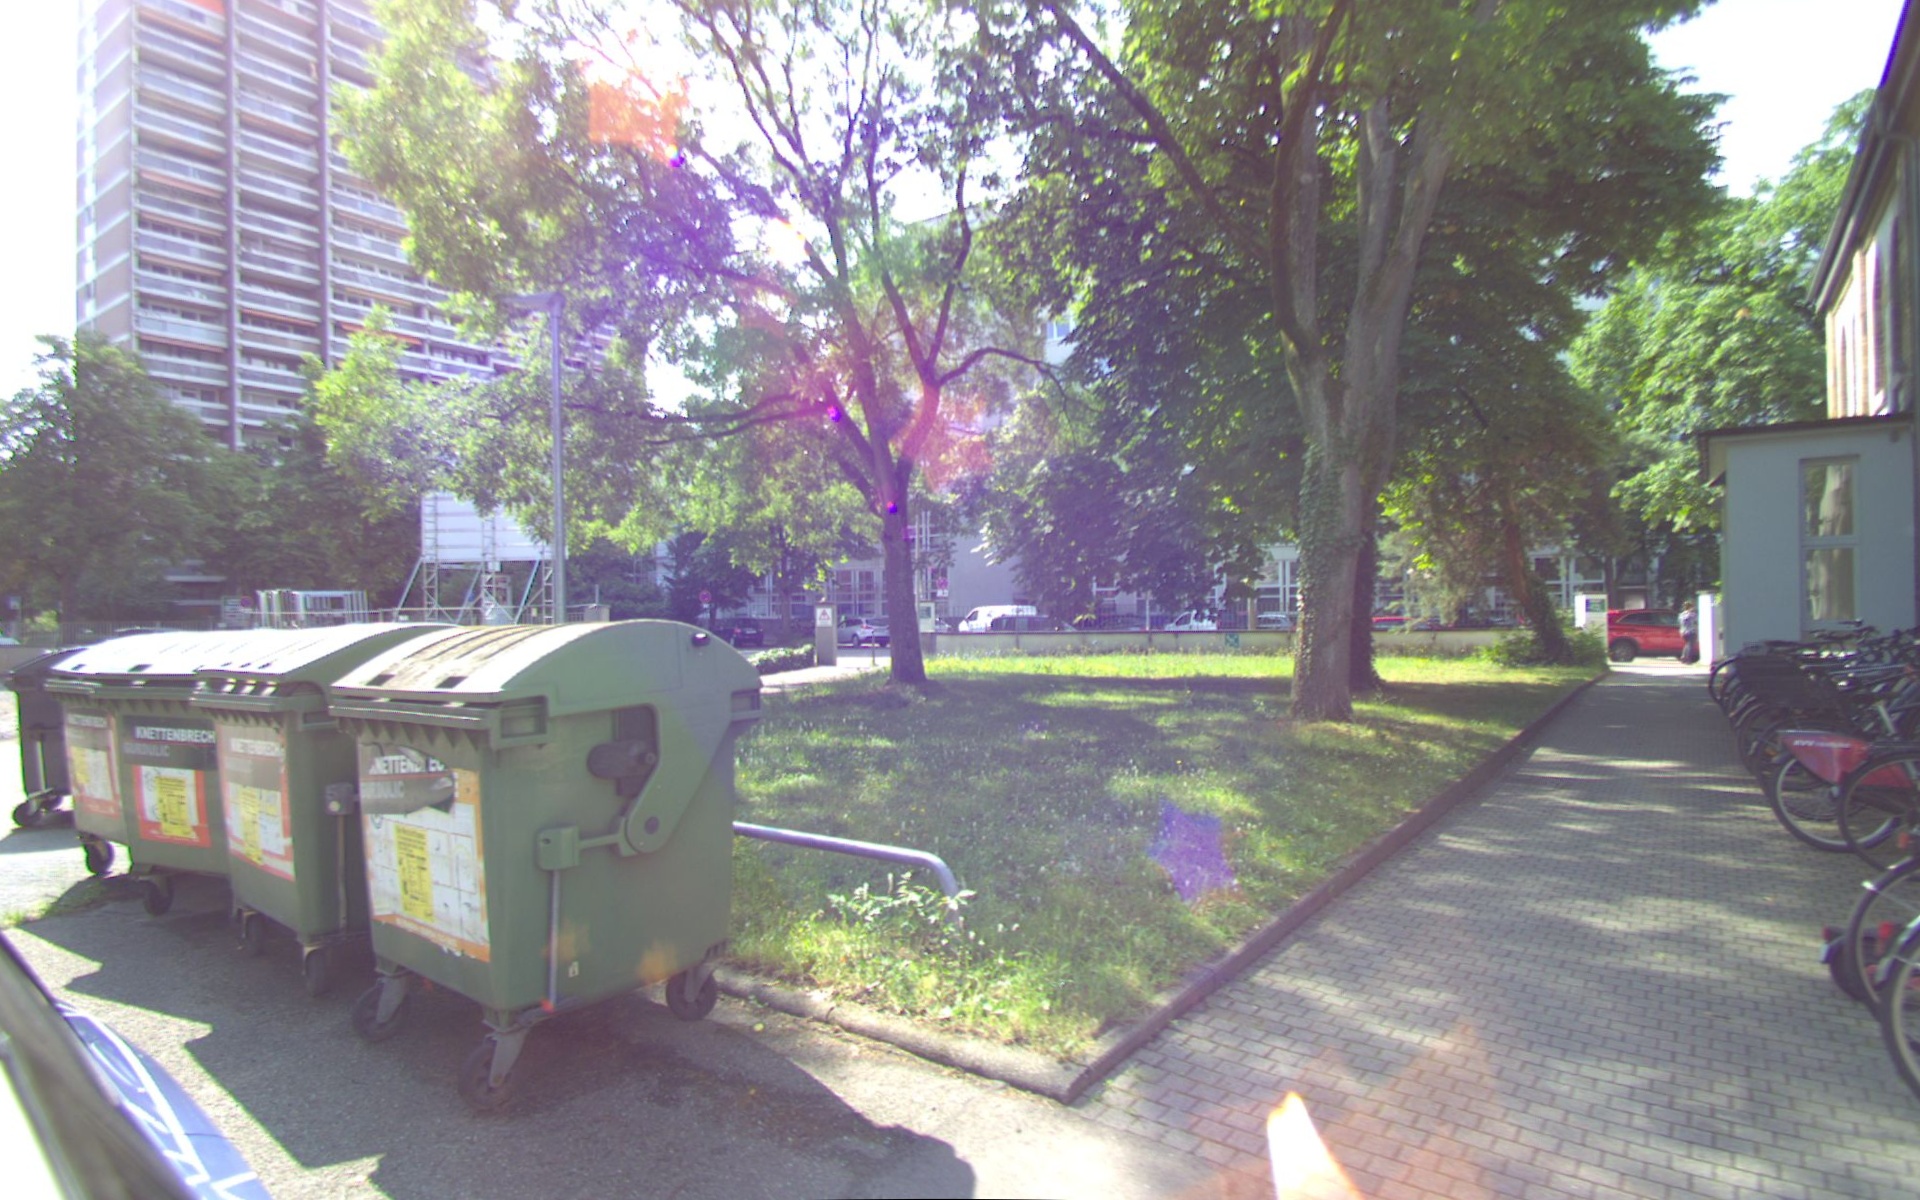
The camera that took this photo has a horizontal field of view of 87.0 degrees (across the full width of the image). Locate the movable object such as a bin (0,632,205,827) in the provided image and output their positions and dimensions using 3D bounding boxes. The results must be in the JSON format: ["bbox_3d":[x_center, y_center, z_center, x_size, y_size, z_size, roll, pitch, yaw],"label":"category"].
[{"bbox_3d":[-7.360,1.048,8.776,1.229,1.493,1.299,0,-2,-34],"label":"movable object such as a bin"}]

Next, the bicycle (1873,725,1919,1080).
[{"bbox_3d":[3.718,0.938,2.713,1.856,1.045,0.316,0,1,36],"label":"bicycle"}]

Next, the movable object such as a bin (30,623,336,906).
[{"bbox_3d":[-4.778,0.901,6.244,1.339,1.462,1.091,-1,1,33],"label":"movable object such as a bin"}]

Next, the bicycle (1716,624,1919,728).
[{"bbox_3d":[9.358,0.798,10.962,1.855,1.045,0.316,0,1,36],"label":"bicycle"}]

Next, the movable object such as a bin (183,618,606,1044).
[{"bbox_3d":[-2.502,0.863,4.497,1.281,1.462,1.212,-4,-1,39],"label":"movable object such as a bin"}]

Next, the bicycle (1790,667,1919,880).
[{"bbox_3d":[5.323,0.896,5.003,1.856,1.045,0.316,0,1,36],"label":"bicycle"}]

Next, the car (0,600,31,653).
[{"bbox_3d":[-40.273,0.959,40.330,5.251,2.029,1.993,2,0,11],"label":"car"}]

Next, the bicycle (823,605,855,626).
[{"bbox_3d":[-6.922,0.871,57.957,0.496,1.095,2.030,-1,1,38],"label":"bicycle"}]

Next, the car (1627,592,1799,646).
[{"bbox_3d":[21.741,0.546,29.377,3.576,1.408,1.714,-2,1,15],"label":"car"}]

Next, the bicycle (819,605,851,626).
[{"bbox_3d":[-7.217,0.881,58.522,0.496,1.095,2.030,-1,1,38],"label":"bicycle"}]

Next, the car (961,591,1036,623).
[{"bbox_3d":[1.809,0.320,48.541,1.720,1.408,4.012,-2,1,-30],"label":"car"}]

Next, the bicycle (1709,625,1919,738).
[{"bbox_3d":[8.758,0.782,10.070,2.066,1.064,0.414,-1,-3,41],"label":"bicycle"}]

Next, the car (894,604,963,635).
[{"bbox_3d":[-1.600,0.922,50.185,1.720,1.408,4.012,-2,1,-30],"label":"car"}]

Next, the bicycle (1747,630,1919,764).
[{"bbox_3d":[7.898,0.798,8.449,2.066,1.064,0.414,-1,1,41],"label":"bicycle"}]

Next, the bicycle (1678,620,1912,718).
[{"bbox_3d":[9.719,0.775,11.874,2.065,1.064,0.414,-1,-3,41],"label":"bicycle"}]

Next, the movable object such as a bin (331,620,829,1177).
[{"bbox_3d":[-1.345,0.829,3.589,1.341,1.462,1.089,-1,1,39],"label":"movable object such as a bin"}]

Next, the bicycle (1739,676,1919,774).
[{"bbox_3d":[7.382,0.986,8.027,1.859,0.711,0.316,-3,0,43],"label":"bicycle"}]

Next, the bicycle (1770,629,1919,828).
[{"bbox_3d":[6.382,0.810,6.300,2.066,1.224,0.414,-1,1,41],"label":"bicycle"}]

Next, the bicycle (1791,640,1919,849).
[{"bbox_3d":[5.825,0.812,5.596,1.855,1.151,0.354,-1,1,36],"label":"bicycle"}]

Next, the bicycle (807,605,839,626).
[{"bbox_3d":[-7.952,0.892,58.712,0.496,1.095,2.030,-1,1,38],"label":"bicycle"}]

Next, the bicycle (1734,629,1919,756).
[{"bbox_3d":[8.172,0.804,8.956,2.066,1.064,0.414,-1,1,41],"label":"bicycle"}]

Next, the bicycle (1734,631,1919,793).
[{"bbox_3d":[6.978,0.801,7.348,2.065,1.131,0.414,-6,-2,41],"label":"bicycle"}]

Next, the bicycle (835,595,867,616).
[{"bbox_3d":[-6.203,0.302,57.616,0.496,1.095,2.030,-1,1,38],"label":"bicycle"}]

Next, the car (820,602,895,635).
[{"bbox_3d":[-5.197,0.923,50.899,1.754,1.475,4.244,4,-3,-38],"label":"car"}]

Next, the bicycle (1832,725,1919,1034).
[{"bbox_3d":[4.083,1.011,3.294,1.856,1.045,0.316,0,1,36],"label":"bicycle"}]

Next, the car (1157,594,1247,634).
[{"bbox_3d":[11.322,0.636,47.493,1.853,1.725,3.767,-2,1,-37],"label":"car"}]

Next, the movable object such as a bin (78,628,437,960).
[{"bbox_3d":[-3.713,0.917,5.405,1.227,1.462,1.093,-1,1,26],"label":"movable object such as a bin"}]

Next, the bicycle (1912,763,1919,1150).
[{"bbox_3d":[3.319,0.977,2.149,1.856,1.045,0.316,0,1,36],"label":"bicycle"}]

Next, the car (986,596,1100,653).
[{"bbox_3d":[2.730,0.805,33.032,3.544,1.623,1.675,3,-2,9],"label":"car"}]
